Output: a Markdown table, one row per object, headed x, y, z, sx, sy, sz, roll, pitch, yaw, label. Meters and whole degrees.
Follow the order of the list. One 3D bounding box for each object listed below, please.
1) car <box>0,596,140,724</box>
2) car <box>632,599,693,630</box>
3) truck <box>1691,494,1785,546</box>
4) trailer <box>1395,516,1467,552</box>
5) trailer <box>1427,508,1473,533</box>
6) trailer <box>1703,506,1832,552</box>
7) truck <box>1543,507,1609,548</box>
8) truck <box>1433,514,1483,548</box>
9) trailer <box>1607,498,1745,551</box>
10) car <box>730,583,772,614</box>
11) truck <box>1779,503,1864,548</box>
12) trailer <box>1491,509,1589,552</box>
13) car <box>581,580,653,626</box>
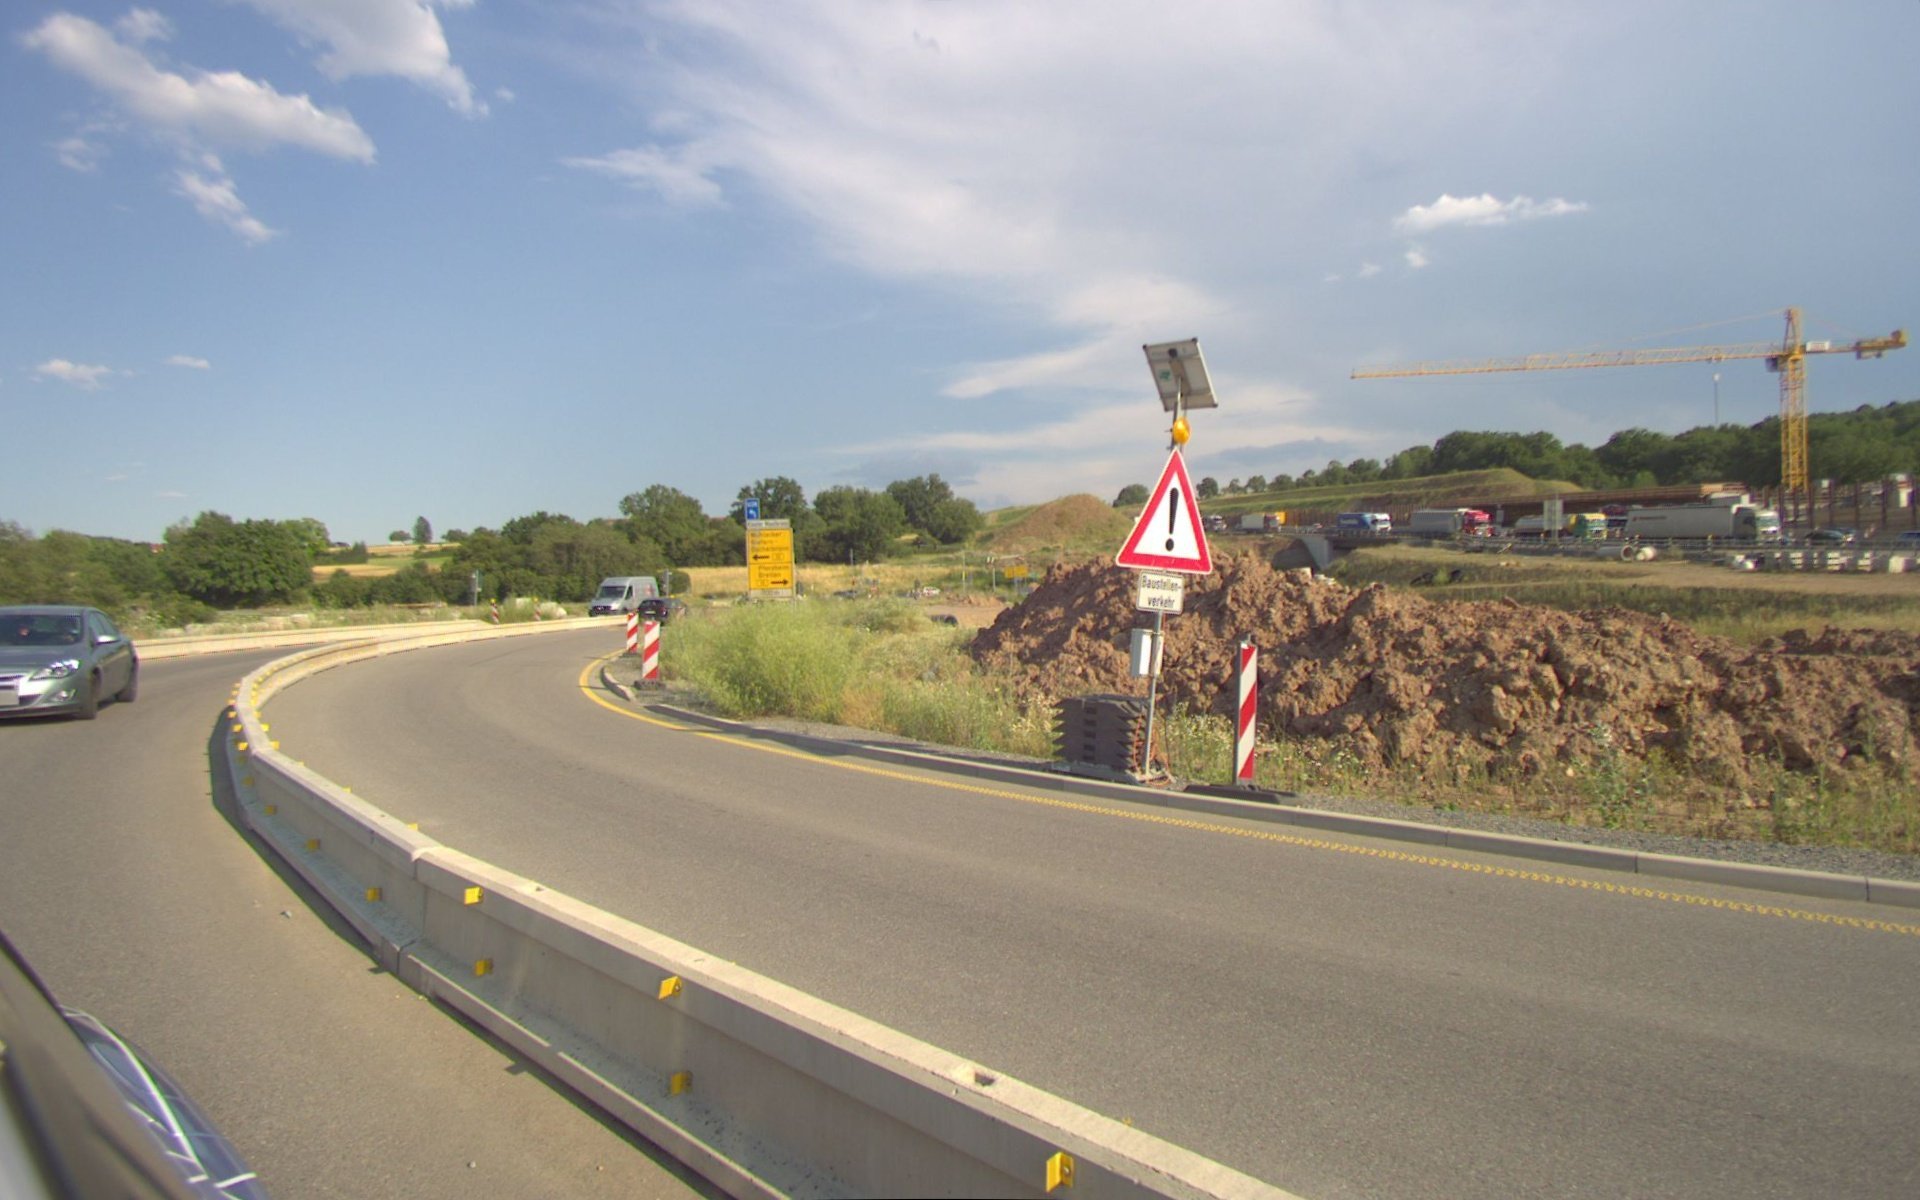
| x | y | z | sx | sy | sz | roll | pitch | yaw | label |
| --- | --- | --- | --- | --- | --- | --- | --- | --- | --- |
| -12.561 | 0.740 | 13.634 | 1.719 | 1.495 | 4.264 | -1 | 0 | -30 | car |
| -15.491 | 0.700 | 52.979 | 1.693 | 1.530 | 4.511 | 0 | 0 | 3 | car |
| 72.530 | -7.374 | 94.531 | 3.067 | 4.346 | 6.902 | -1 | 0 | -3 | truck |
| 68.789 | -9.582 | 148.332 | 3.067 | 4.346 | 14.264 | -1 | 0 | -4 | trailer |
| 86.326 | -13.940 | 178.505 | 1.943 | 3.540 | 11.184 | -1 | 0 | -3 | trailer |
| 92.103 | -7.940 | 115.966 | 3.069 | 4.346 | 14.254 | -1 | 0 | -1 | trailer |
| 71.537 | -8.372 | 117.701 | 3.067 | 4.346 | 6.902 | -1 | 0 | -3 | truck |
| 69.262 | -9.517 | 140.863 | 3.067 | 4.346 | 6.902 | -1 | 0 | -3 | truck |
| 71.887 | -7.456 | 102.277 | 3.067 | 4.346 | 14.264 | -1 | 0 | -4 | trailer |
| -16.809 | -0.116 | 81.508 | 1.857 | 2.421 | 3.985 | -1 | 0 | 12 | car |
| 92.182 | -7.928 | 108.483 | 3.069 | 4.346 | 6.897 | -1 | 0 | -1 | truck |
| 71.167 | -8.444 | 124.825 | 3.067 | 4.346 | 14.264 | -1 | 0 | -4 | trailer |
| -20.011 | 0.131 | 59.373 | 1.893 | 2.520 | 5.791 | -1 | 0 | 4 | car |
